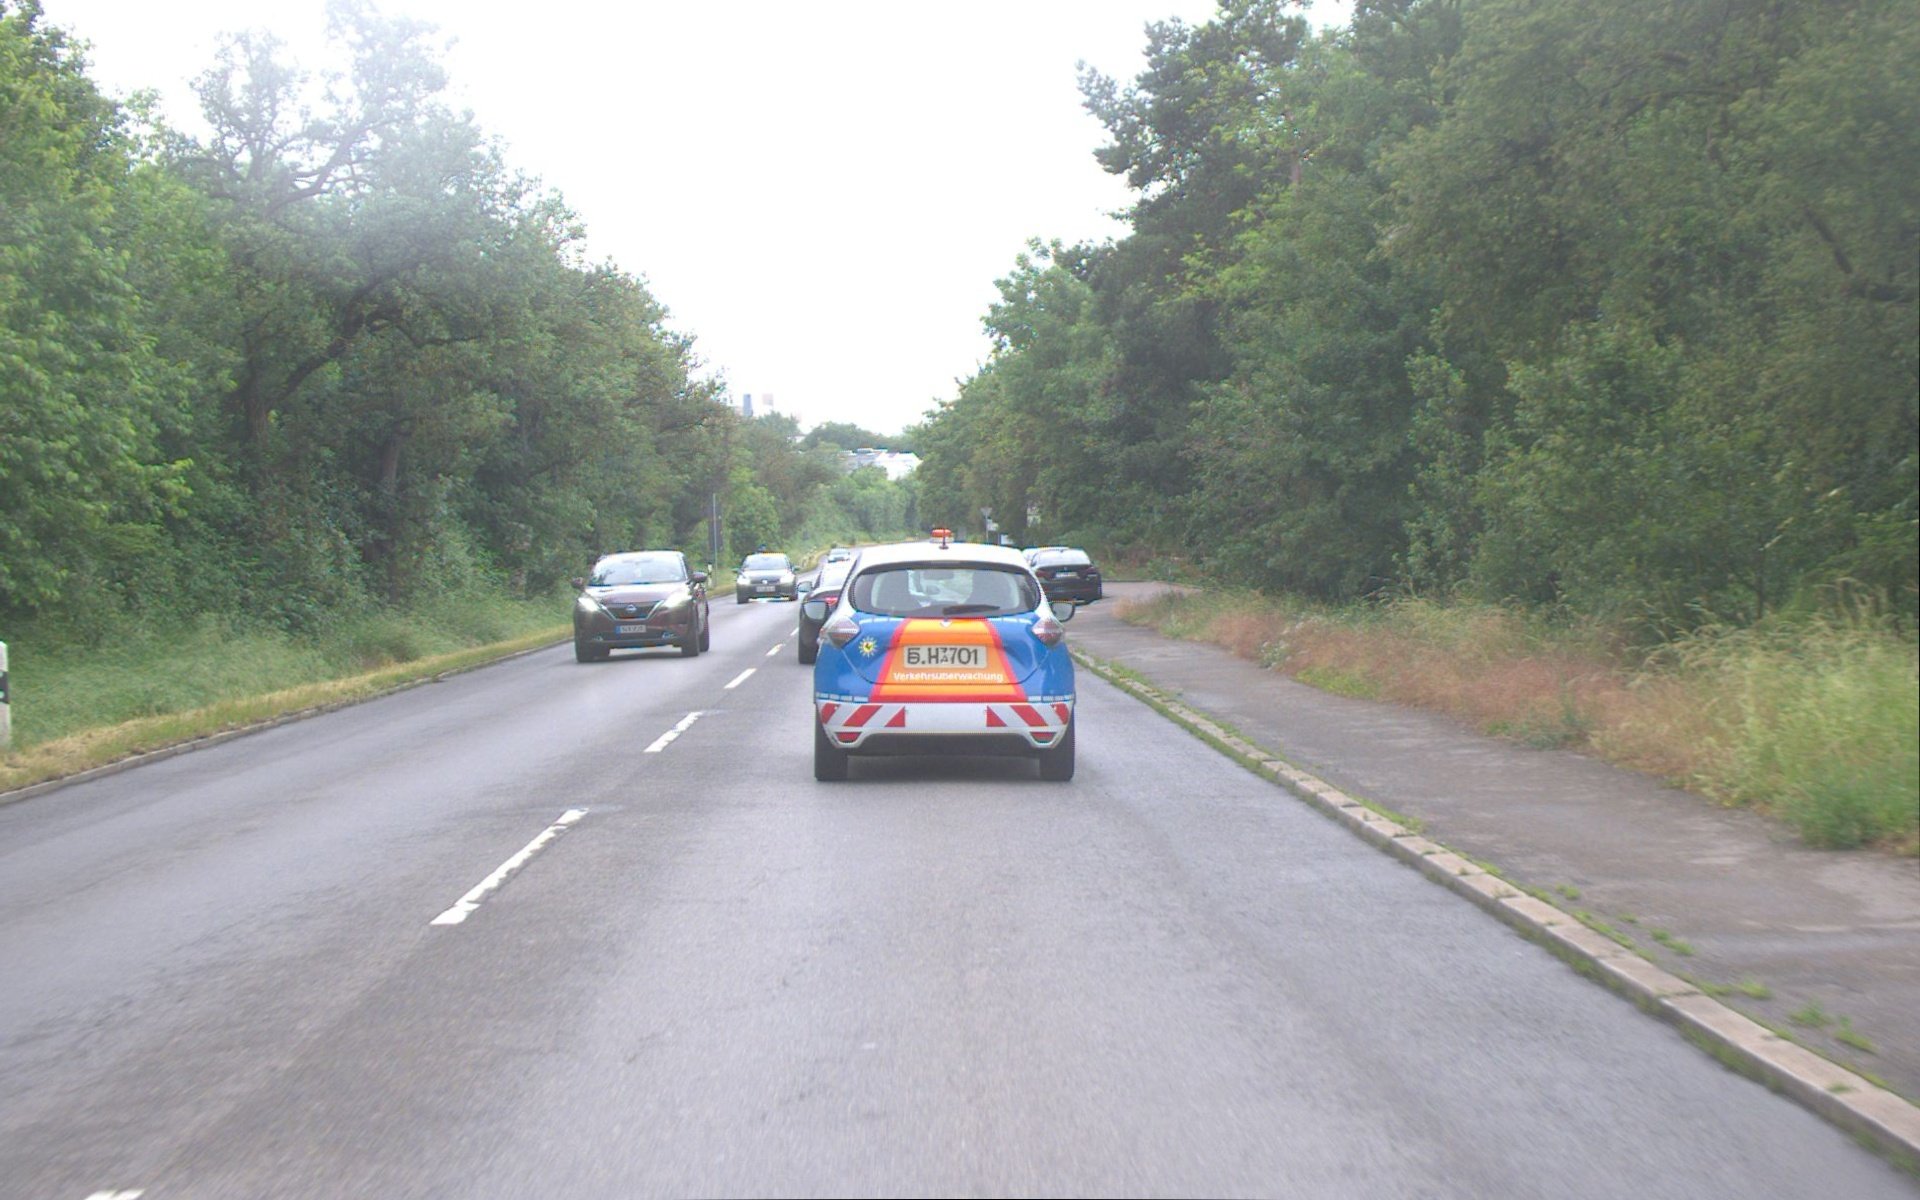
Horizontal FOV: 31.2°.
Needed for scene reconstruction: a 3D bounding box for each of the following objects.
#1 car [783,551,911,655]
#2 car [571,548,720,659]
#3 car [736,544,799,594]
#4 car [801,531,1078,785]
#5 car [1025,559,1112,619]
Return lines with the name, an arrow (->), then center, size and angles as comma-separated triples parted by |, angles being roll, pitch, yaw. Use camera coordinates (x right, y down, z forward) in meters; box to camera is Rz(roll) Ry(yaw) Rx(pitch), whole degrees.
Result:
car -> -1.493, 0.014, 46.522 | 1.598, 1.282, 3.476 | -2, 1, 0
car -> -4.756, 0.019, 52.580 | 1.905, 1.551, 4.516 | -2, 1, -1
car -> -5.787, -0.959, 103.889 | 1.710, 1.394, 4.150 | -3, 1, -2
car -> -0.168, 0.329, 23.627 | 1.752, 1.550, 3.793 | 0, 2, -1
car -> 2.679, -0.295, 85.833 | 1.993, 1.371, 4.000 | -2, 1, 0
